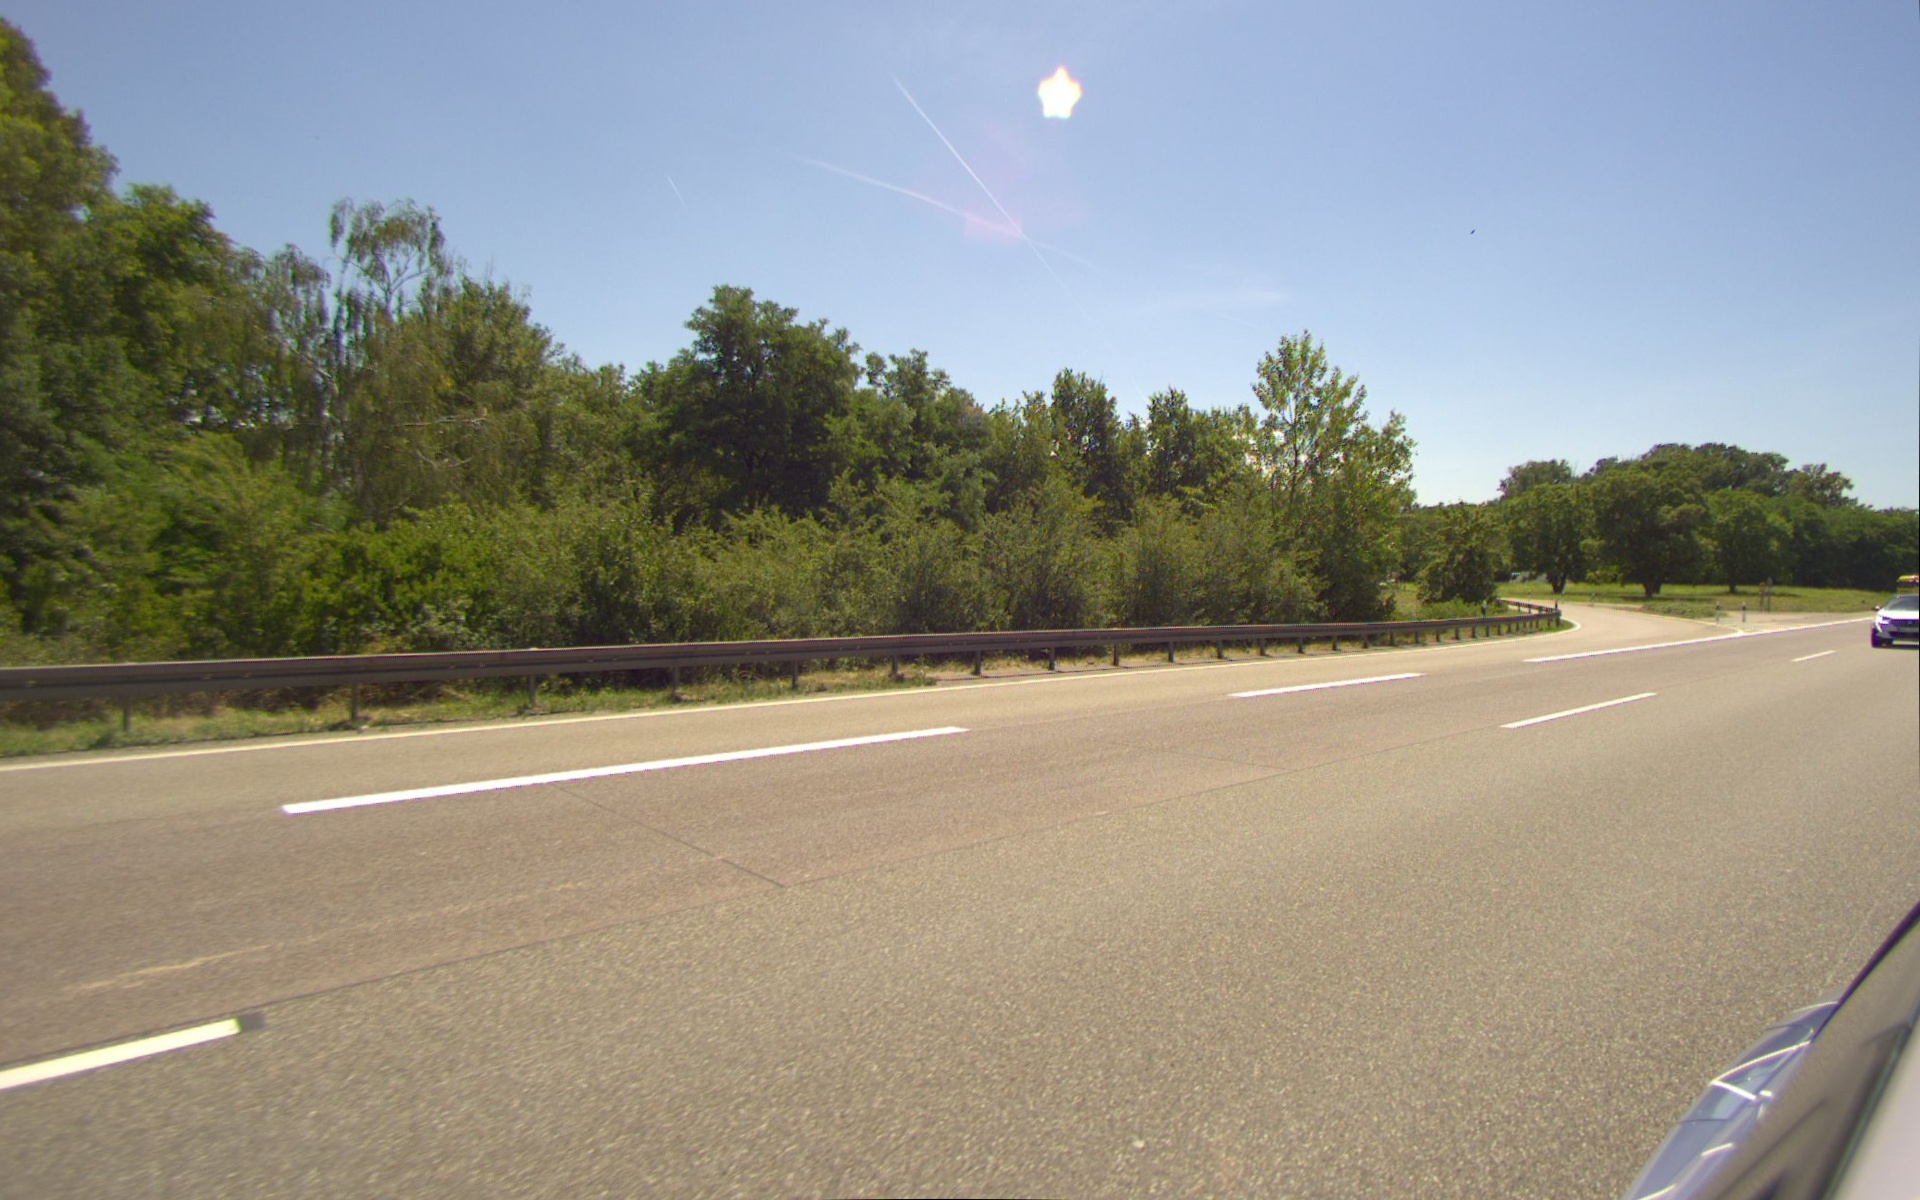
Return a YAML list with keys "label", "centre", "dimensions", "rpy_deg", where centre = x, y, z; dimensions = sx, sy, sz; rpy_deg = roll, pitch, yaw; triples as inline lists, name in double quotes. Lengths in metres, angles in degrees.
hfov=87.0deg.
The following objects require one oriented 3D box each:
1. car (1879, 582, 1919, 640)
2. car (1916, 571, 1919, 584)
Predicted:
- label: "car"
  centre: [28.232, 0.285, 29.418]
  dimensions: [3.931, 1.594, 1.844]
  rpy_deg: [-1, 1, -41]
- label: "car"
  centre: [155.375, -3.554, 162.382]
  dimensions: [6.650, 2.038, 2.559]
  rpy_deg: [-1, 2, -43]
